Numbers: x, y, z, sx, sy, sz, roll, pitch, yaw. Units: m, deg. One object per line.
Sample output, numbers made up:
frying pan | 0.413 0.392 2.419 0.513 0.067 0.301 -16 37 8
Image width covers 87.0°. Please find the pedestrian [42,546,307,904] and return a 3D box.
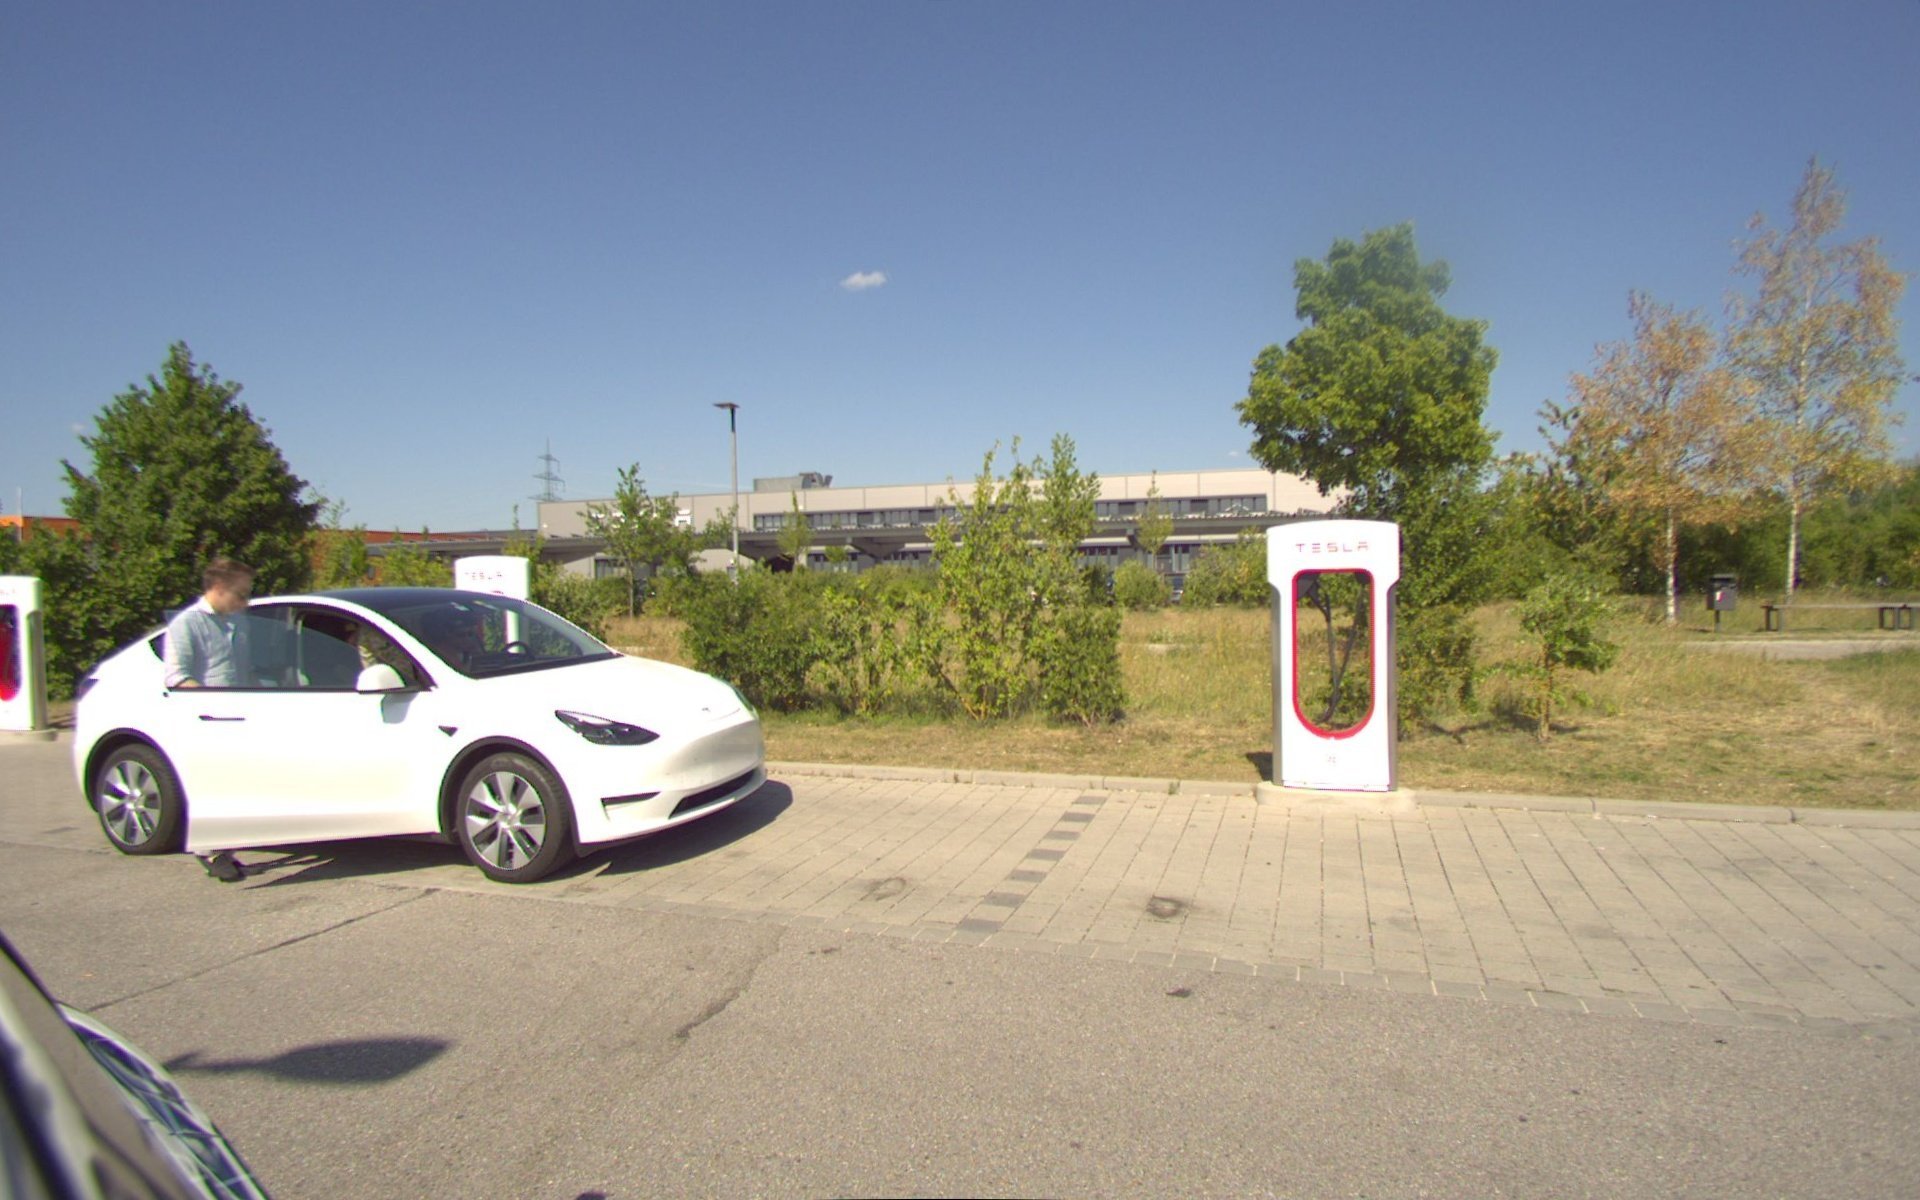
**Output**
pedestrian | -4.382 0.635 5.668 1.029 1.813 0.731 -1 1 25

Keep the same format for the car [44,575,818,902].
car | -3.359 0.711 6.587 4.451 1.612 1.859 -1 1 18
